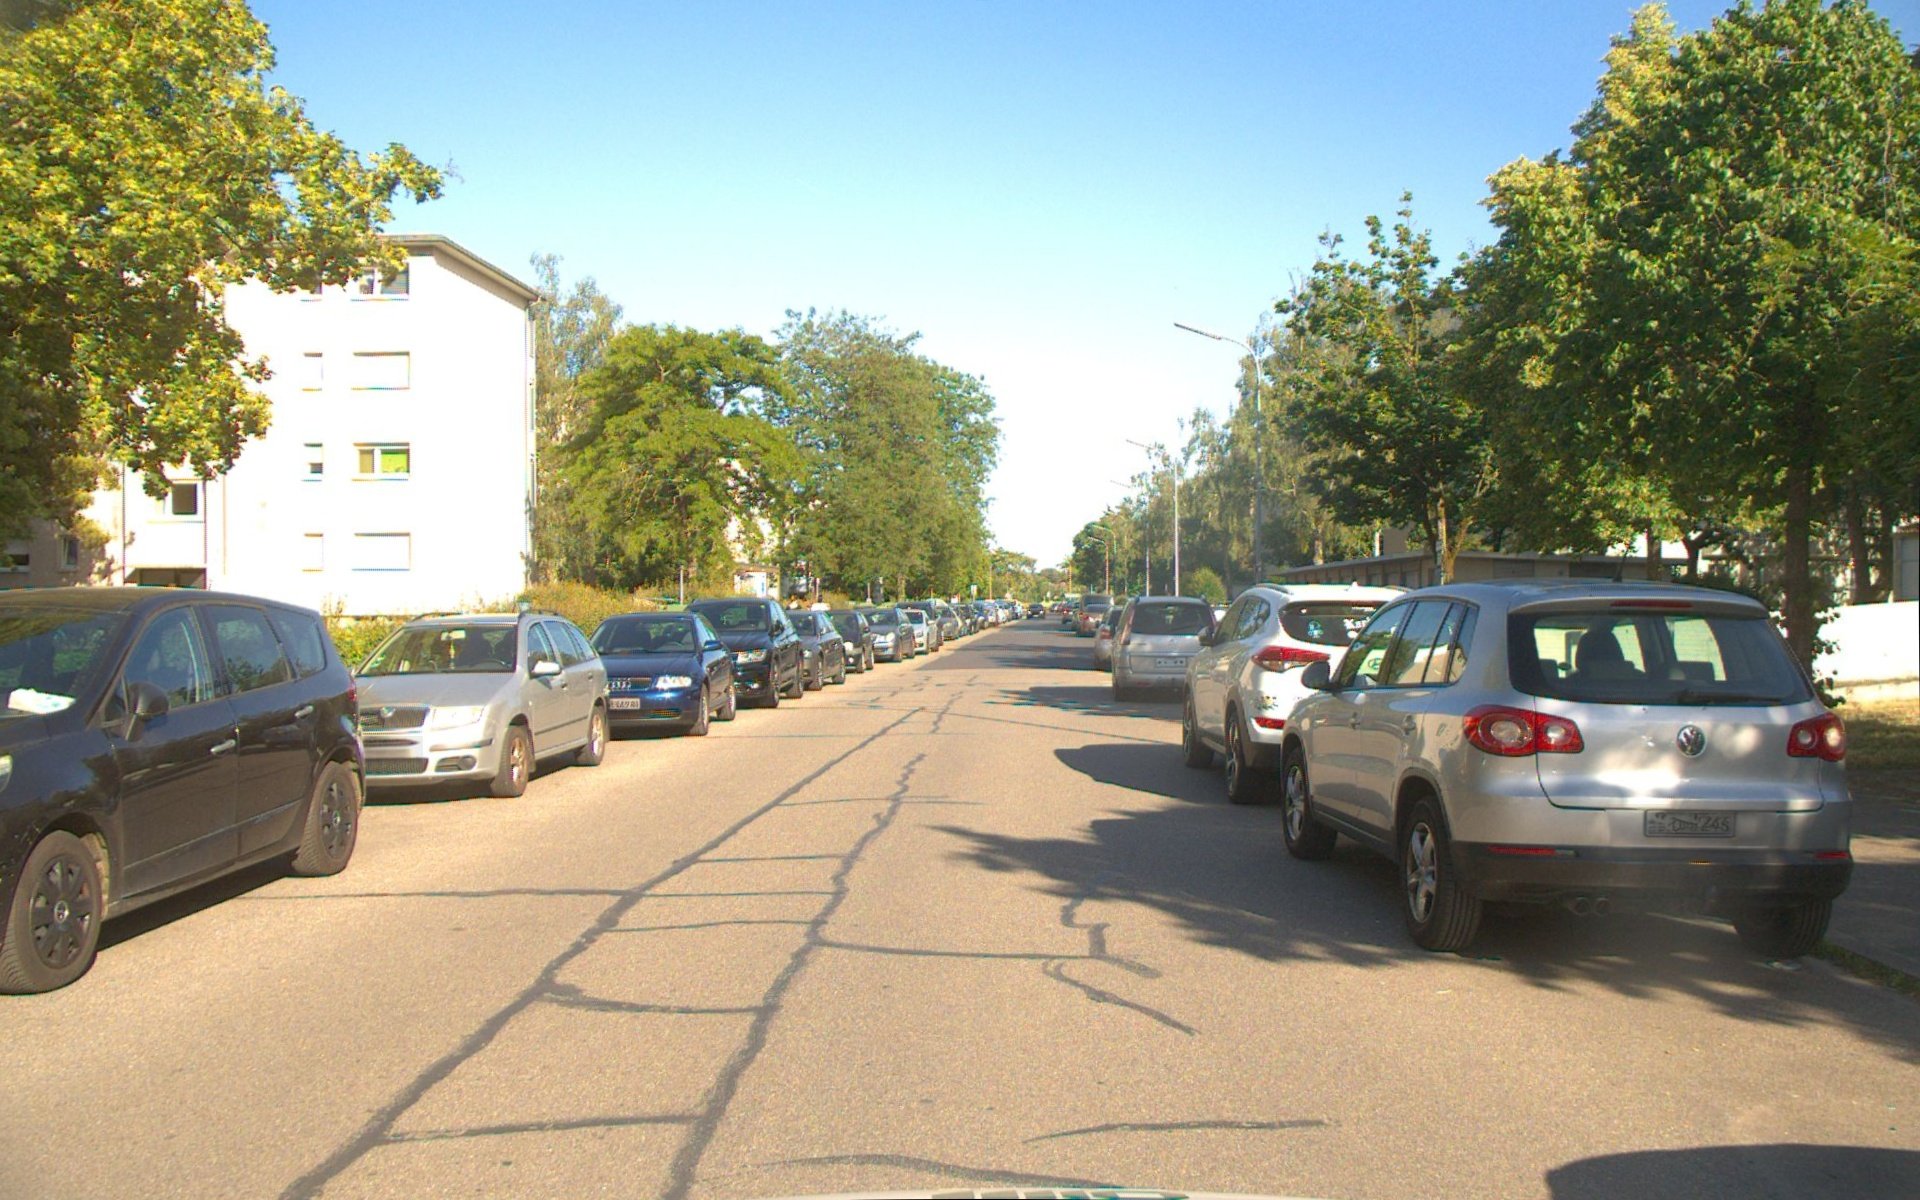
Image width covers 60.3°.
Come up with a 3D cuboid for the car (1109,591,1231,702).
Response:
[{"bbox_3d":[3.363,0.704,27.114,1.662,1.670,4.235,0,0,3],"label":"car"}]

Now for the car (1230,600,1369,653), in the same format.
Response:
[{"bbox_3d":[10.801,0.816,52.856,4.131,1.621,1.831,1,0,4],"label":"car"}]

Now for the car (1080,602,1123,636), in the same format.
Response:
[{"bbox_3d":[6.390,0.840,74.939,1.786,1.492,4.235,0,0,3],"label":"car"}]

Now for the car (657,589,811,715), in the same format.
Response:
[{"bbox_3d":[-3.389,0.730,25.448,1.626,1.718,4.050,-2,0,2],"label":"car"}]

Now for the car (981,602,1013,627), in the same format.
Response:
[{"bbox_3d":[2.484,0.957,110.315,1.786,1.491,4.237,1,1,5],"label":"car"}]

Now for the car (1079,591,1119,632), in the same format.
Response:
[{"bbox_3d":[6.762,0.533,80.719,1.786,1.834,4.235,1,1,3],"label":"car"}]

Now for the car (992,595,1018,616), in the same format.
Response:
[{"bbox_3d":[3.653,0.428,133.181,1.786,1.491,4.237,1,1,5],"label":"car"}]

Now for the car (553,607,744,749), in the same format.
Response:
[{"bbox_3d":[-3.654,0.856,20.047,1.627,1.451,4.047,-2,0,-2],"label":"car"}]

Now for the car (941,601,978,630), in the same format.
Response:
[{"bbox_3d":[-0.003,0.755,82.774,1.477,1.352,3.469,-2,0,6],"label":"car"}]

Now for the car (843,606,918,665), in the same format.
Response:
[{"bbox_3d":[-2.164,0.948,45.712,1.477,1.476,3.693,-2,0,6],"label":"car"}]

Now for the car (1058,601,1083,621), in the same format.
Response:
[{"bbox_3d":[8.285,0.819,123.727,1.786,1.348,4.236,1,1,5],"label":"car"}]

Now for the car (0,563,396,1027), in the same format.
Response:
[{"bbox_3d":[-4.329,0.737,7.938,1.636,1.695,4.406,-2,0,1],"label":"car"}]

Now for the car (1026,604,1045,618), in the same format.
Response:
[{"bbox_3d":[7.547,1.070,165.496,1.904,1.312,4.235,1,1,3],"label":"car"}]

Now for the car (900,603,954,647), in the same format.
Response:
[{"bbox_3d":[-1.176,0.883,59.738,1.477,1.459,3.469,-2,0,6],"label":"car"}]

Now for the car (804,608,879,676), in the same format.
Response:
[{"bbox_3d":[-2.743,0.955,38.768,1.360,1.438,3.126,-2,0,2],"label":"car"}]

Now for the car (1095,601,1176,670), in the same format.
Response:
[{"bbox_3d":[4.208,0.812,39.545,1.785,1.492,4.236,-1,0,6],"label":"car"}]

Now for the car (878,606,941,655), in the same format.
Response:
[{"bbox_3d":[-1.547,0.934,51.906,1.477,1.388,3.469,-2,0,6],"label":"car"}]

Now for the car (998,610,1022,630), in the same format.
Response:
[{"bbox_3d":[4.282,1.683,141.447,1.786,1.491,4.237,1,1,5],"label":"car"}]

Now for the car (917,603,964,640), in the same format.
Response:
[{"bbox_3d":[-0.780,0.883,68.061,1.477,1.405,3.469,-2,0,6],"label":"car"}]

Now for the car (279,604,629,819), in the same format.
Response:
[{"bbox_3d":[-4.180,0.837,14.359,1.626,1.512,4.053,-2,0,2],"label":"car"}]

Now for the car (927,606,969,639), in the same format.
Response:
[{"bbox_3d":[-0.513,0.977,73.931,1.477,1.352,3.469,-2,0,6],"label":"car"}]

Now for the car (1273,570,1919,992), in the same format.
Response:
[{"bbox_3d":[2.920,0.715,8.626,1.694,1.647,4.232,1,0,-1],"label":"car"}]

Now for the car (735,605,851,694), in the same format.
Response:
[{"bbox_3d":[-3.052,0.871,30.893,1.626,1.464,3.761,-2,0,2],"label":"car"}]

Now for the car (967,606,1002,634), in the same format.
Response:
[{"bbox_3d":[1.512,1.192,99.757,1.786,1.491,4.237,1,1,5],"label":"car"}]

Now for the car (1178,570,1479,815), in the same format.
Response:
[{"bbox_3d":[2.905,0.658,13.886,1.619,1.728,4.234,1,0,1],"label":"car"}]

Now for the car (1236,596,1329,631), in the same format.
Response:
[{"bbox_3d":[15.261,0.632,78.486,4.131,1.557,1.831,1,-3,4],"label":"car"}]
